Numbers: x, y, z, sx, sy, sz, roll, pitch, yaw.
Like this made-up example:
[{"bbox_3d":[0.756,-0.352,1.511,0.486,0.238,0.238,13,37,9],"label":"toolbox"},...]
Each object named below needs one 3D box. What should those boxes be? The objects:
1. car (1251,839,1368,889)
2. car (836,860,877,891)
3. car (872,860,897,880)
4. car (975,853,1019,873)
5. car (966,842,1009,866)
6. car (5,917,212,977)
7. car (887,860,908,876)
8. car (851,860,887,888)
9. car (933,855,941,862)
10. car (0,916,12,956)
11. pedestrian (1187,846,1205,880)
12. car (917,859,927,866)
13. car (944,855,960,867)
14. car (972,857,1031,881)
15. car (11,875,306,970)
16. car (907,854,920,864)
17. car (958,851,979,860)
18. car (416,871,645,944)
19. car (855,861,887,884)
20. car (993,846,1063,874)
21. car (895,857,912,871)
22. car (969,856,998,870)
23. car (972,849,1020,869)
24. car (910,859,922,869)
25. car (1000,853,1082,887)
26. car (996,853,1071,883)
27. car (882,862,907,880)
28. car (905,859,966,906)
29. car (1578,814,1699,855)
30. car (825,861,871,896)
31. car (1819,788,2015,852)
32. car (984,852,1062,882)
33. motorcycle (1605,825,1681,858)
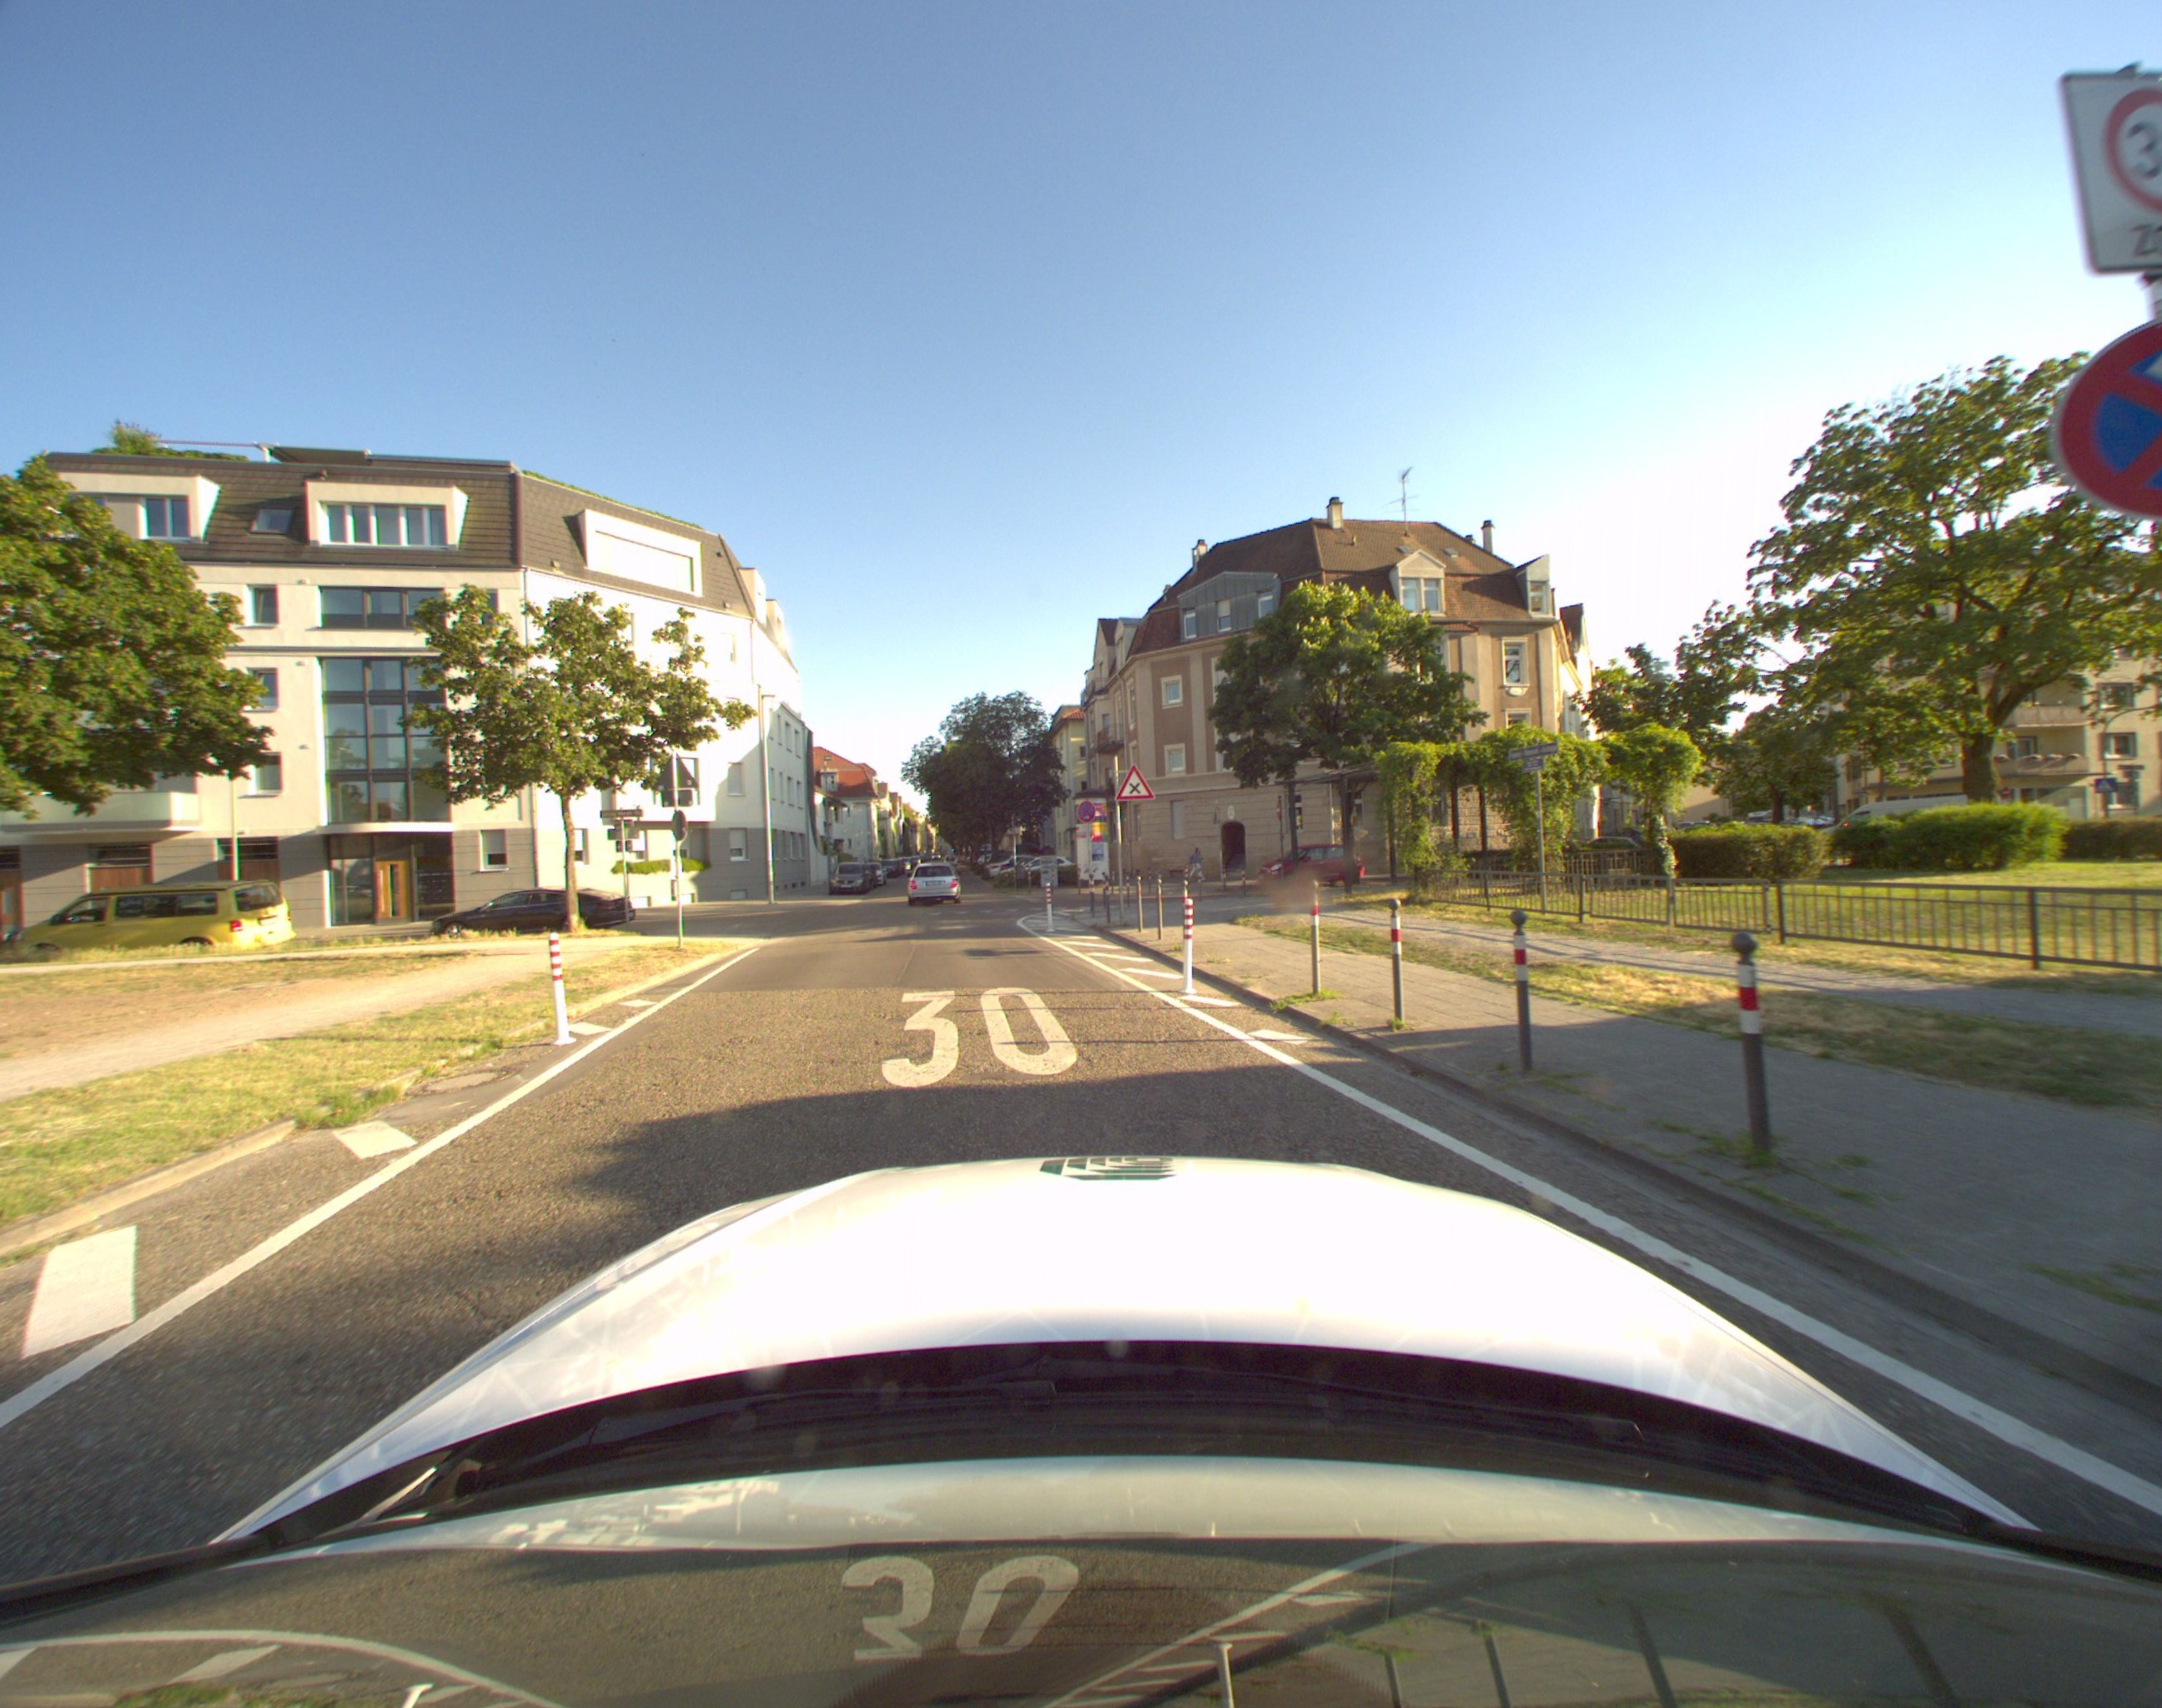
[{"bbox_3d":[9.026,0.349,32.277,4.072,1.740,1.807,-2,2,-9],"label":"car"},{"bbox_3d":[-12.744,1.185,46.428,1.885,1.591,4.073,-2,0,-12],"label":"car"},{"bbox_3d":[-16.196,1.310,67.195,1.856,1.497,4.635,-2,0,-12],"label":"car"},{"bbox_3d":[-7.537,0.781,73.193,3.732,1.558,1.719,-3,0,-11],"label":"car"},{"bbox_3d":[-12.933,-0.011,112.474,5.547,2.968,2.462,-3,0,-12],"label":"car"},{"bbox_3d":[-30.507,2.882,25.670,3.986,1.463,1.672,-2,0,-9],"label":"car"},{"bbox_3d":[-17.797,1.367,78.989,1.659,1.488,3.742,-2,0,-9],"label":"car"},{"bbox_3d":[-13.167,1.198,50.769,1.885,1.591,4.073,-2,0,-12],"label":"car"},{"bbox_3d":[-35.414,1.178,200.613,1.527,1.474,4.260,-2,-1,-7],"label":"car"},{"bbox_3d":[-35.423,2.624,24.500,3.724,1.240,1.618,-2,-1,-14],"label":"car"},{"bbox_3d":[5.422,0.410,38.479,0.814,1.544,0.744,0,2,6],"label":"pedestrian"},{"bbox_3d":[-31.236,1.637,159.658,1.799,1.387,3.594,-2,0,-10],"label":"car"},{"bbox_3d":[-16.860,0.901,106.603,1.815,1.473,4.206,-2,-1,-7],"label":"car"},{"bbox_3d":[-5.951,1.124,60.789,4.192,1.558,1.867,-3,0,-11],"label":"car"},{"bbox_3d":[-23.379,1.677,20.867,4.680,2.013,2.025,-2,0,-11],"label":"car"},{"bbox_3d":[-24.765,0.726,120.437,1.799,1.482,3.844,-2,0,-10],"label":"car"},{"bbox_3d":[-21.296,0.217,154.250,3.843,1.482,1.799,-3,0,-9],"label":"car"},{"bbox_3d":[-14.953,1.407,22.380,4.822,1.669,1.783,-2,0,-9],"label":"car"},{"bbox_3d":[-14.134,1.242,54.908,1.759,1.447,4.126,-2,0,-11],"label":"car"},{"bbox_3d":[-3.674,0.426,55.996,4.528,1.640,1.867,-3,0,-11],"label":"car"},{"bbox_3d":[-20.309,1.139,93.429,1.659,1.499,3.742,-2,0,-9],"label":"car"},{"bbox_3d":[-13.092,1.240,109.310,3.597,1.659,1.643,-3,0,-12],"label":"car"},{"bbox_3d":[-8.508,0.514,81.732,4.626,1.836,1.947,-2,0,-10],"label":"car"},{"bbox_3d":[-27.576,1.652,136.223,1.799,1.482,3.844,-2,0,-10],"label":"car"},{"bbox_3d":[-2.133,0.820,43.160,4.050,1.505,1.855,-3,0,-11],"label":"car"},{"bbox_3d":[-2.829,0.802,47.841,4.145,1.448,1.667,-4,0,-11],"label":"car"},{"bbox_3d":[-16.529,1.503,72.320,1.783,1.497,4.684,-2,0,-9],"label":"car"},{"bbox_3d":[-5.086,0.972,28.926,1.815,1.473,4.206,-2,-1,-7],"label":"car"},{"bbox_3d":[23.469,-0.803,34.344,4.072,1.533,1.807,-2,1,-9],"label":"car"},{"bbox_3d":[-11.675,1.164,41.071,1.885,1.591,4.073,-2,0,-12],"label":"car"},{"bbox_3d":[41.824,-1.624,40.954,2.329,2.744,6.612,-2,0,-38],"label":"car"},{"bbox_3d":[-3.596,0.773,50.444,4.486,1.525,1.944,-4,1,-16],"label":"car"},{"bbox_3d":[28.294,-0.600,41.109,0.854,1.487,3.208,-2,-1,-21],"label":"motorcycle"}]
